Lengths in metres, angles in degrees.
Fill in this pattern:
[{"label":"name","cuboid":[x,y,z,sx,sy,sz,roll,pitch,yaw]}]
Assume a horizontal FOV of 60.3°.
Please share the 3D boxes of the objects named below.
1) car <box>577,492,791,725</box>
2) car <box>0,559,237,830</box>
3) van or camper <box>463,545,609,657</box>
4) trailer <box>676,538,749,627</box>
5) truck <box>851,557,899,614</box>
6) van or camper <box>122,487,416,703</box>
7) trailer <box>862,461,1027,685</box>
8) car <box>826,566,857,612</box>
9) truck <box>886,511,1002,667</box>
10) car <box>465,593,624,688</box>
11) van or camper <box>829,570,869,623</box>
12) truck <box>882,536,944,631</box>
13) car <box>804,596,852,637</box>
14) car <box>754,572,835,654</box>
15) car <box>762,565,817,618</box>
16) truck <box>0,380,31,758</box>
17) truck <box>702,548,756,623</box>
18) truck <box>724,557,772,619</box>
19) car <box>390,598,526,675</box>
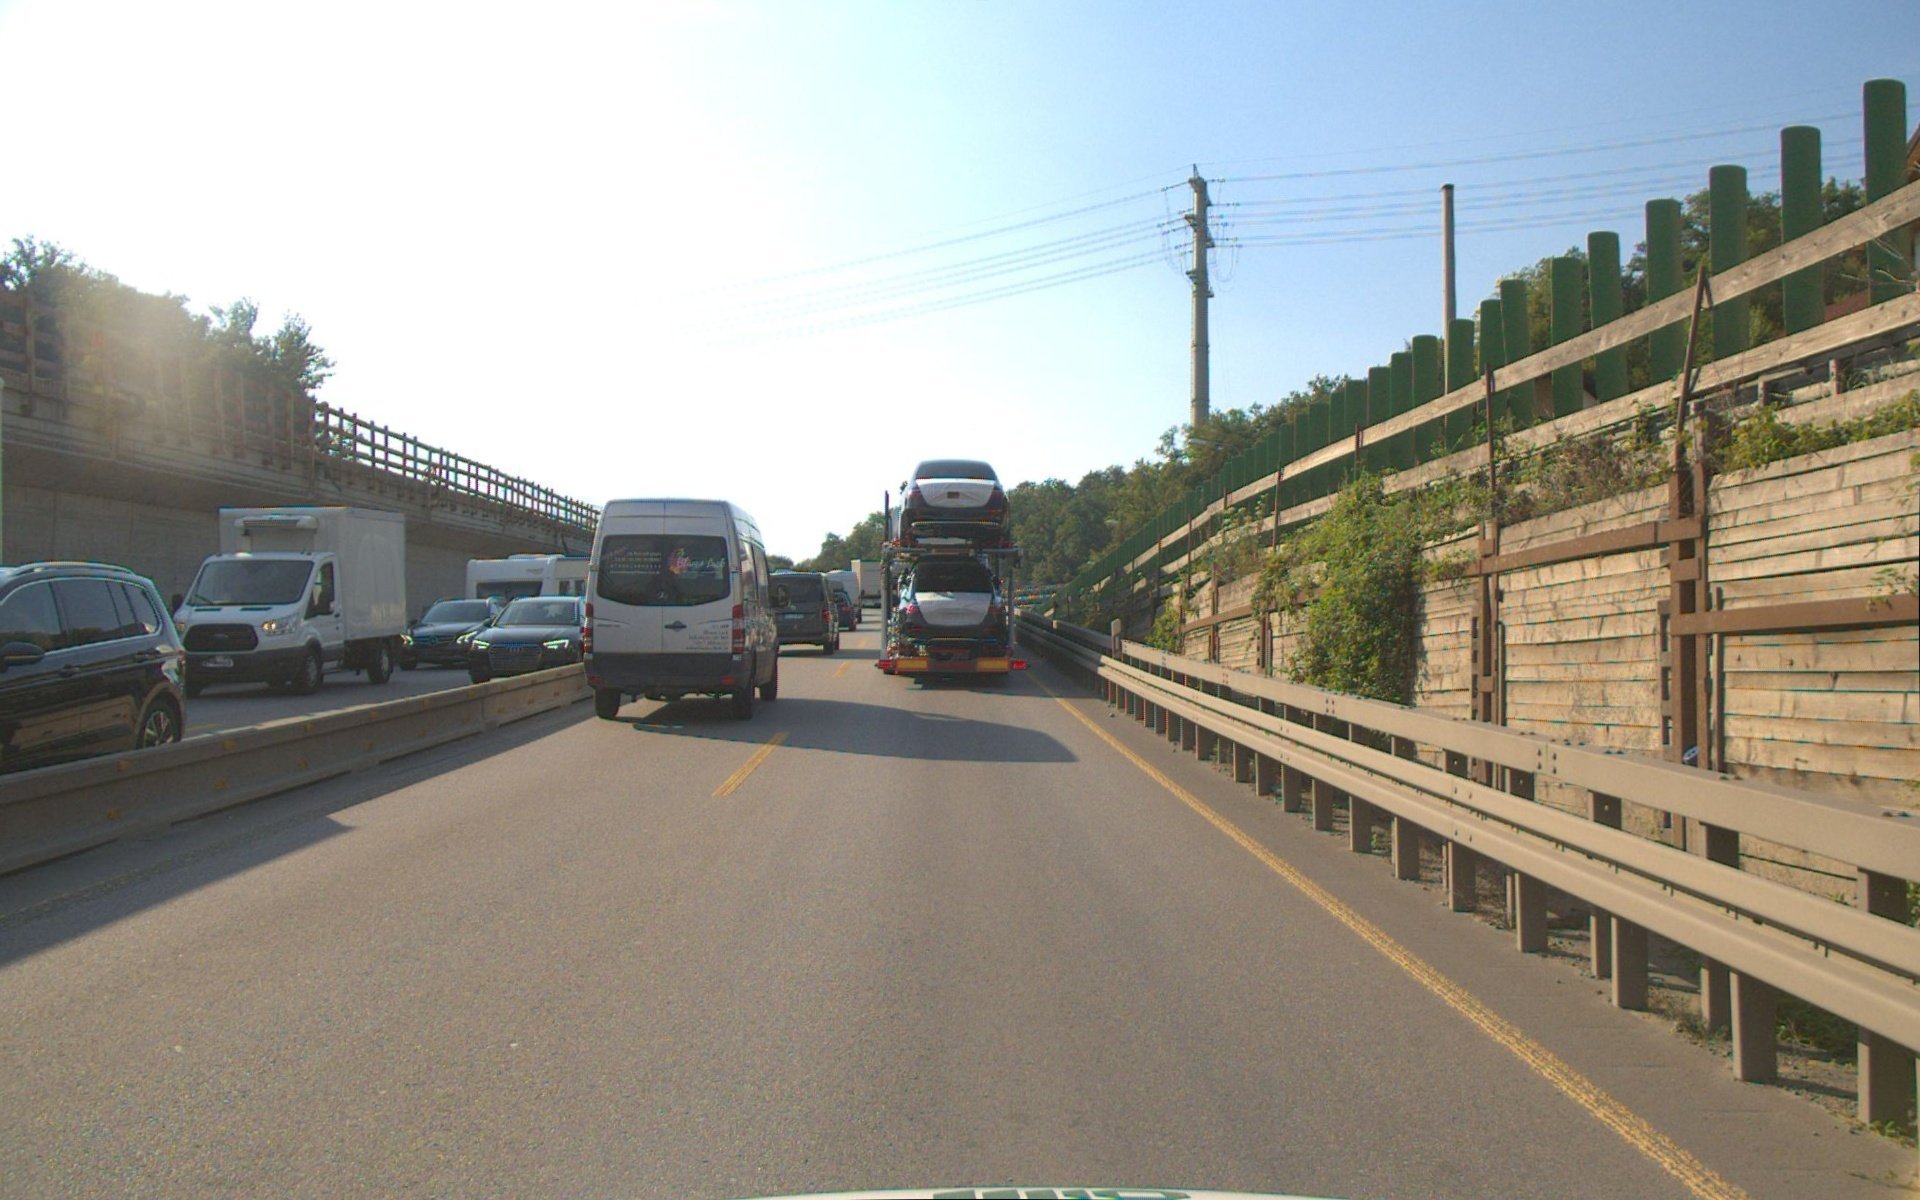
[{"label":"car","cuboid":[-3.485,0.098,21.954,1.953,2.694,5.529,0,0,-1]},{"label":"car","cuboid":[-6.839,0.577,11.271,1.795,1.674,4.687,2,-1,-1]},{"label":"van or camper","cuboid":[-11.077,0.021,43.742,2.265,2.709,6.453,-1,0,-1]},{"label":"trailer","cuboid":[-12.575,-0.874,84.858,2.554,4.184,9.623,-2,1,-2]},{"label":"truck","cuboid":[-7.460,-1.191,145.181,3.984,4.761,10.584,1,0,-3]},{"label":"van or camper","cuboid":[-10.772,-0.026,26.468,2.273,3.042,6.220,0,-1,-2]},{"label":"trailer","cuboid":[-0.310,-0.337,34.720,2.628,3.597,15.285,1,-1,0]},{"label":"car","cuboid":[-13.658,-1.236,189.955,3.377,5.123,9.644,1,0,-4]},{"label":"truck","cuboid":[-0.406,-0.212,42.285,2.628,3.597,7.192,1,-1,0]},{"label":"car","cuboid":[-7.144,0.647,28.874,1.728,1.475,4.457,2,0,-2]},{"label":"van or camper","cuboid":[-5.815,-0.119,86.525,1.929,2.637,5.037,2,-1,-4]},{"label":"truck","cuboid":[-2.484,-0.797,85.127,2.850,4.687,7.280,1,0,-4]},{"label":"car","cuboid":[-5.280,0.632,66.394,1.691,1.549,3.971,2,0,-2]},{"label":"car","cuboid":[-4.150,0.356,42.012,1.772,1.937,3.998,2,-1,-2]},{"label":"car","cuboid":[-8.567,-0.405,83.427,2.421,2.578,3.999,1,-1,-1]},{"label":"truck","cuboid":[-10.074,-0.310,11.595,2.660,3.484,8.137,-2,-1,-2]},{"label":"truck","cuboid":[-13.504,-0.815,97.034,2.657,4.164,6.197,1,-1,-5]},{"label":"truck","cuboid":[-14.994,-0.819,117.381,2.924,4.226,7.386,1,0,-4]},{"label":"car","cuboid":[-10.941,0.757,36.387,1.607,1.557,4.782,-1,0,-1]}]
